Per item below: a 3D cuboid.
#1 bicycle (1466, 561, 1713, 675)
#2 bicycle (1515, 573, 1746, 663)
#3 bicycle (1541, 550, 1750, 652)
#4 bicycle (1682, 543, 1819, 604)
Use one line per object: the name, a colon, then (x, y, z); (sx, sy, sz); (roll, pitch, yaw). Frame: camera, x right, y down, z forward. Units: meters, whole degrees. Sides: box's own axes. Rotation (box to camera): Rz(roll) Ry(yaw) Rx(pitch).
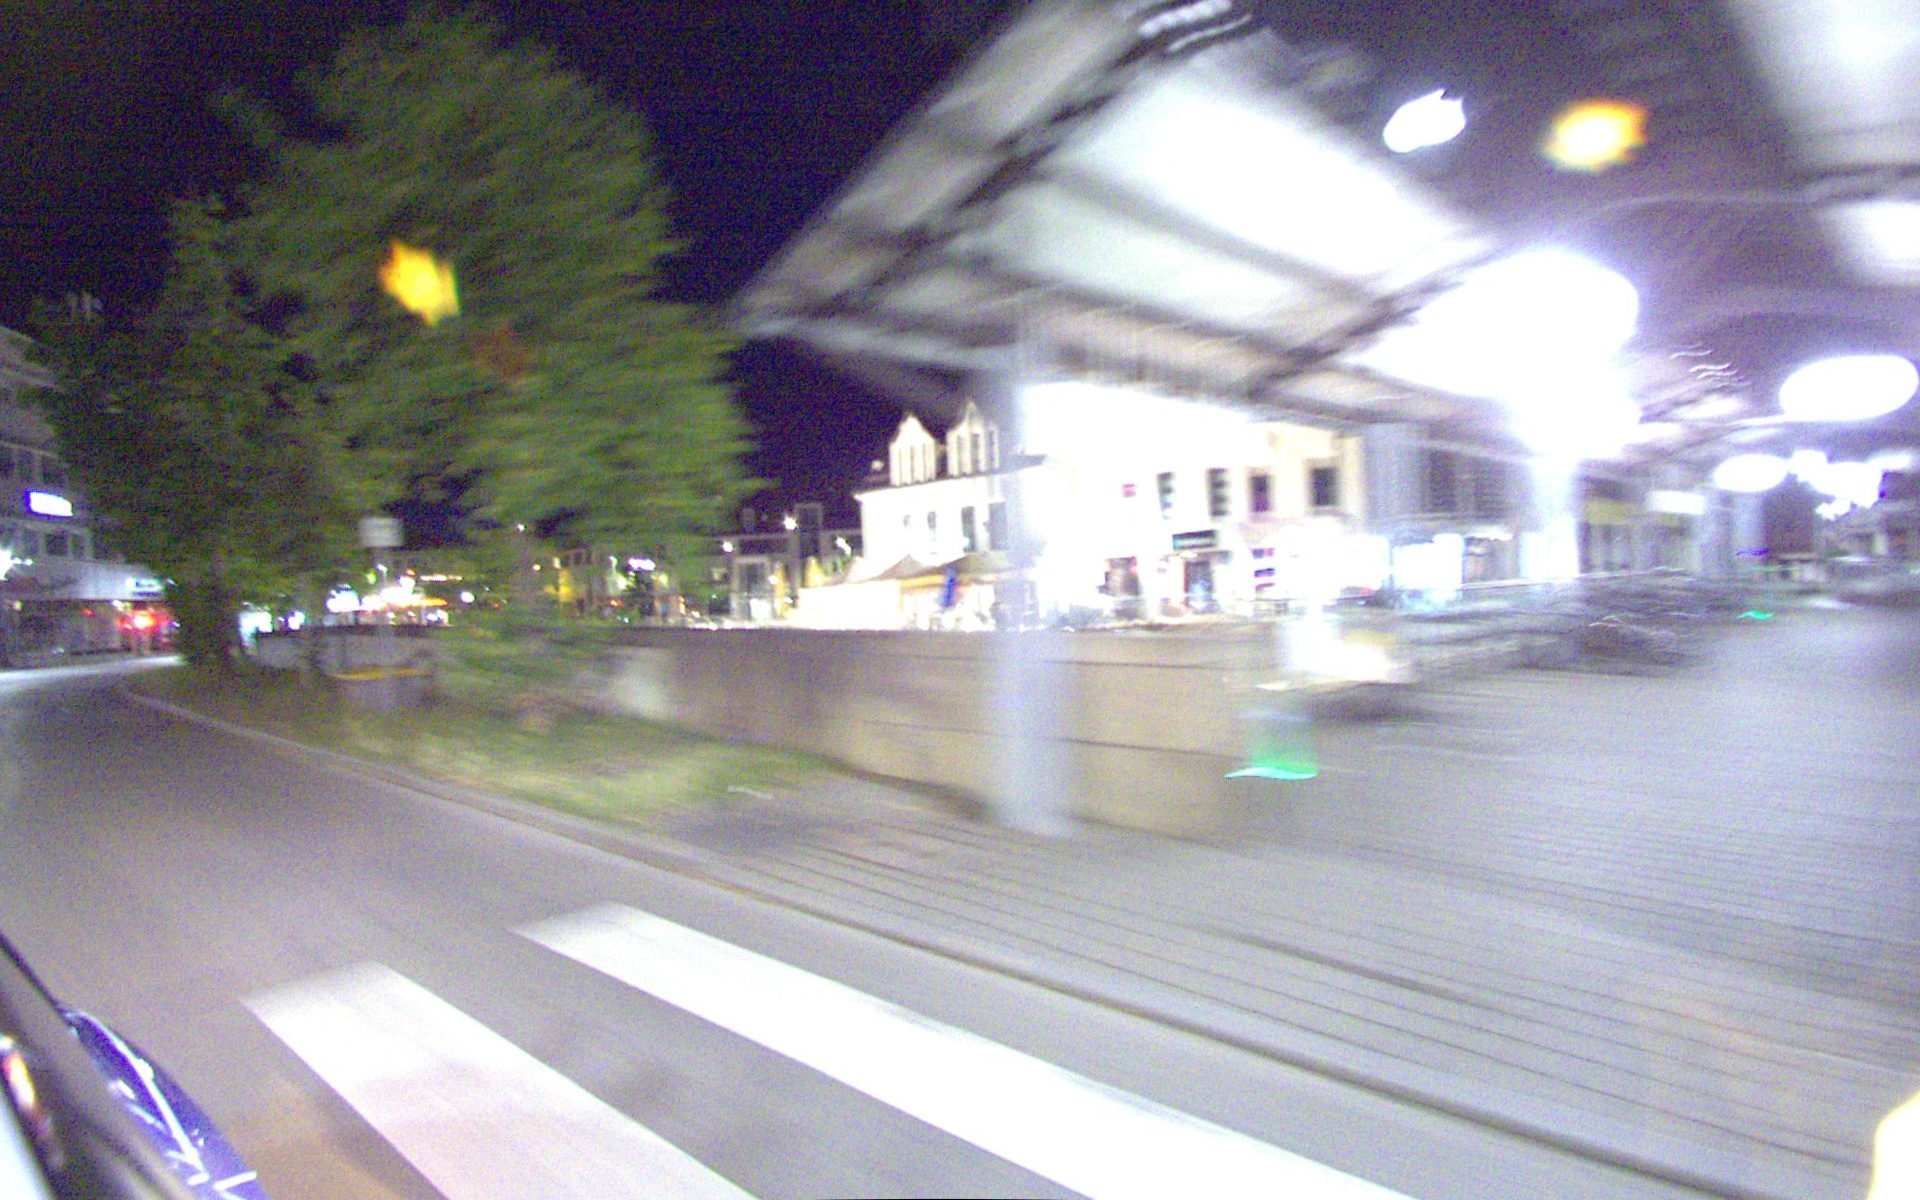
bicycle: (7.670, 0.195, 12.423); (2.465, 1.263, 0.850); (0, 1, 41)
bicycle: (8.888, 0.213, 13.503); (2.482, 1.095, 0.850); (0, 1, 41)
bicycle: (9.845, 0.008, 14.607); (2.412, 1.374, 0.755); (0, 1, 41)
bicycle: (18.650, -0.601, 23.918); (2.510, 1.374, 0.765); (0, 1, 41)
